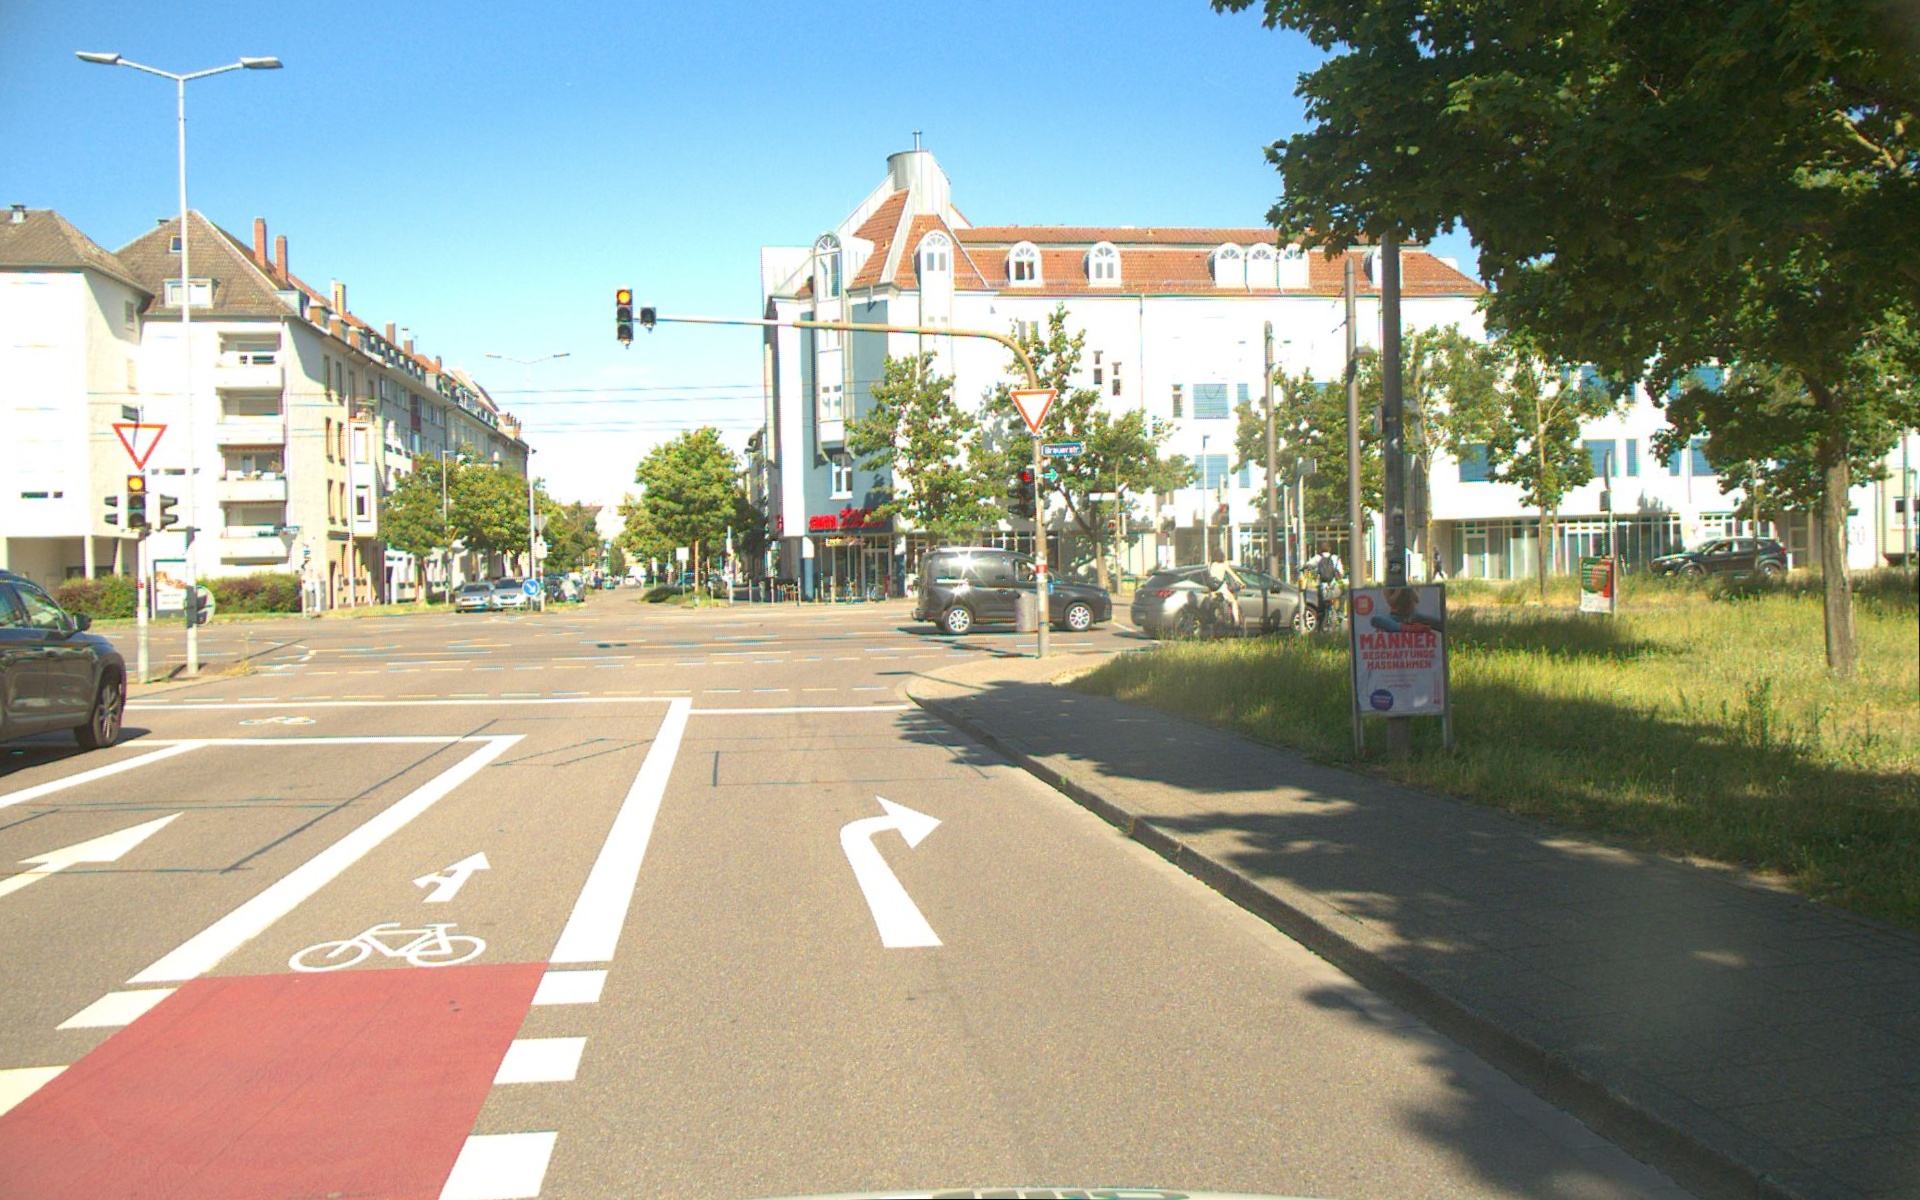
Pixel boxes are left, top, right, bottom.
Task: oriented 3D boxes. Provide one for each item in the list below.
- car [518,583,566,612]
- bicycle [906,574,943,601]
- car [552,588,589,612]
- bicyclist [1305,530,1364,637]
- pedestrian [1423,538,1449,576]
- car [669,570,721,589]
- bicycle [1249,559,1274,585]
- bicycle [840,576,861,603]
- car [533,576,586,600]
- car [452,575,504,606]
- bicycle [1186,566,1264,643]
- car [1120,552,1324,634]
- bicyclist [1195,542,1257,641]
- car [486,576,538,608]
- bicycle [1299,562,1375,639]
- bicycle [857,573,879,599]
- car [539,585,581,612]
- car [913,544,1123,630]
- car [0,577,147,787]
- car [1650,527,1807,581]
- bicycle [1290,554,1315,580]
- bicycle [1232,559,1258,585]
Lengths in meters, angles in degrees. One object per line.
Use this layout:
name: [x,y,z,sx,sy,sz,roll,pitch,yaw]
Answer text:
car: [-21.559,-0.151,85.498,1.655,1.457,4.396,1,0,-4]
bicycle: [-1.468,-0.516,69.081,1.480,1.045,0.473,-2,1,2]
car: [-24.052,-0.004,102.163,1.655,1.457,4.394,1,0,-6]
bicyclist: [7.108,-0.322,31.381,0.775,1.993,1.009,-2,1,29]
pedestrian: [22.262,-2.008,77.355,0.971,1.753,0.653,-2,1,-10]
car: [-18.881,-1.454,117.934,3.508,1.244,1.724,-1,0,-15]
bicycle: [14.049,-1.299,77.124,0.550,1.203,1.866,-2,1,-10]
bicycle: [-4.401,-0.425,66.361,0.464,1.045,1.508,-2,1,-19]
car: [-35.442,-1.043,146.437,4.425,2.049,1.995,-1,0,-11]
car: [-23.737,-0.460,81.558,1.655,1.457,4.394,1,0,-6]
bicycle: [5.099,0.073,31.721,0.775,1.371,2.075,-2,1,29]
car: [5.365,-0.139,33.926,3.798,1.605,1.685,1,0,-18]
bicyclist: [5.115,-0.169,31.740,0.775,1.856,1.133,-2,1,29]
car: [-21.238,-0.396,78.594,1.655,1.457,4.394,1,0,-6]
bicycle: [7.214,-0.011,31.548,0.775,1.371,2.259,-2,1,29]
bicycle: [-3.727,-0.564,66.986,0.464,1.045,1.507,-2,1,-20]
car: [-22.098,-0.109,91.418,1.655,1.457,4.394,1,0,-6]
car: [1.271,-0.286,36.949,4.402,1.832,1.760,1,0,-11]
car: [-8.558,0.629,13.967,1.721,1.656,4.470,1,0,-8]
car: [26.192,-1.561,56.467,4.408,1.637,2.000,-2,1,1]
bicycle: [15.919,-1.534,76.982,0.549,1.203,1.867,-2,1,-7]
bicycle: [13.218,-1.299,76.686,0.550,1.203,1.866,-2,1,-10]
